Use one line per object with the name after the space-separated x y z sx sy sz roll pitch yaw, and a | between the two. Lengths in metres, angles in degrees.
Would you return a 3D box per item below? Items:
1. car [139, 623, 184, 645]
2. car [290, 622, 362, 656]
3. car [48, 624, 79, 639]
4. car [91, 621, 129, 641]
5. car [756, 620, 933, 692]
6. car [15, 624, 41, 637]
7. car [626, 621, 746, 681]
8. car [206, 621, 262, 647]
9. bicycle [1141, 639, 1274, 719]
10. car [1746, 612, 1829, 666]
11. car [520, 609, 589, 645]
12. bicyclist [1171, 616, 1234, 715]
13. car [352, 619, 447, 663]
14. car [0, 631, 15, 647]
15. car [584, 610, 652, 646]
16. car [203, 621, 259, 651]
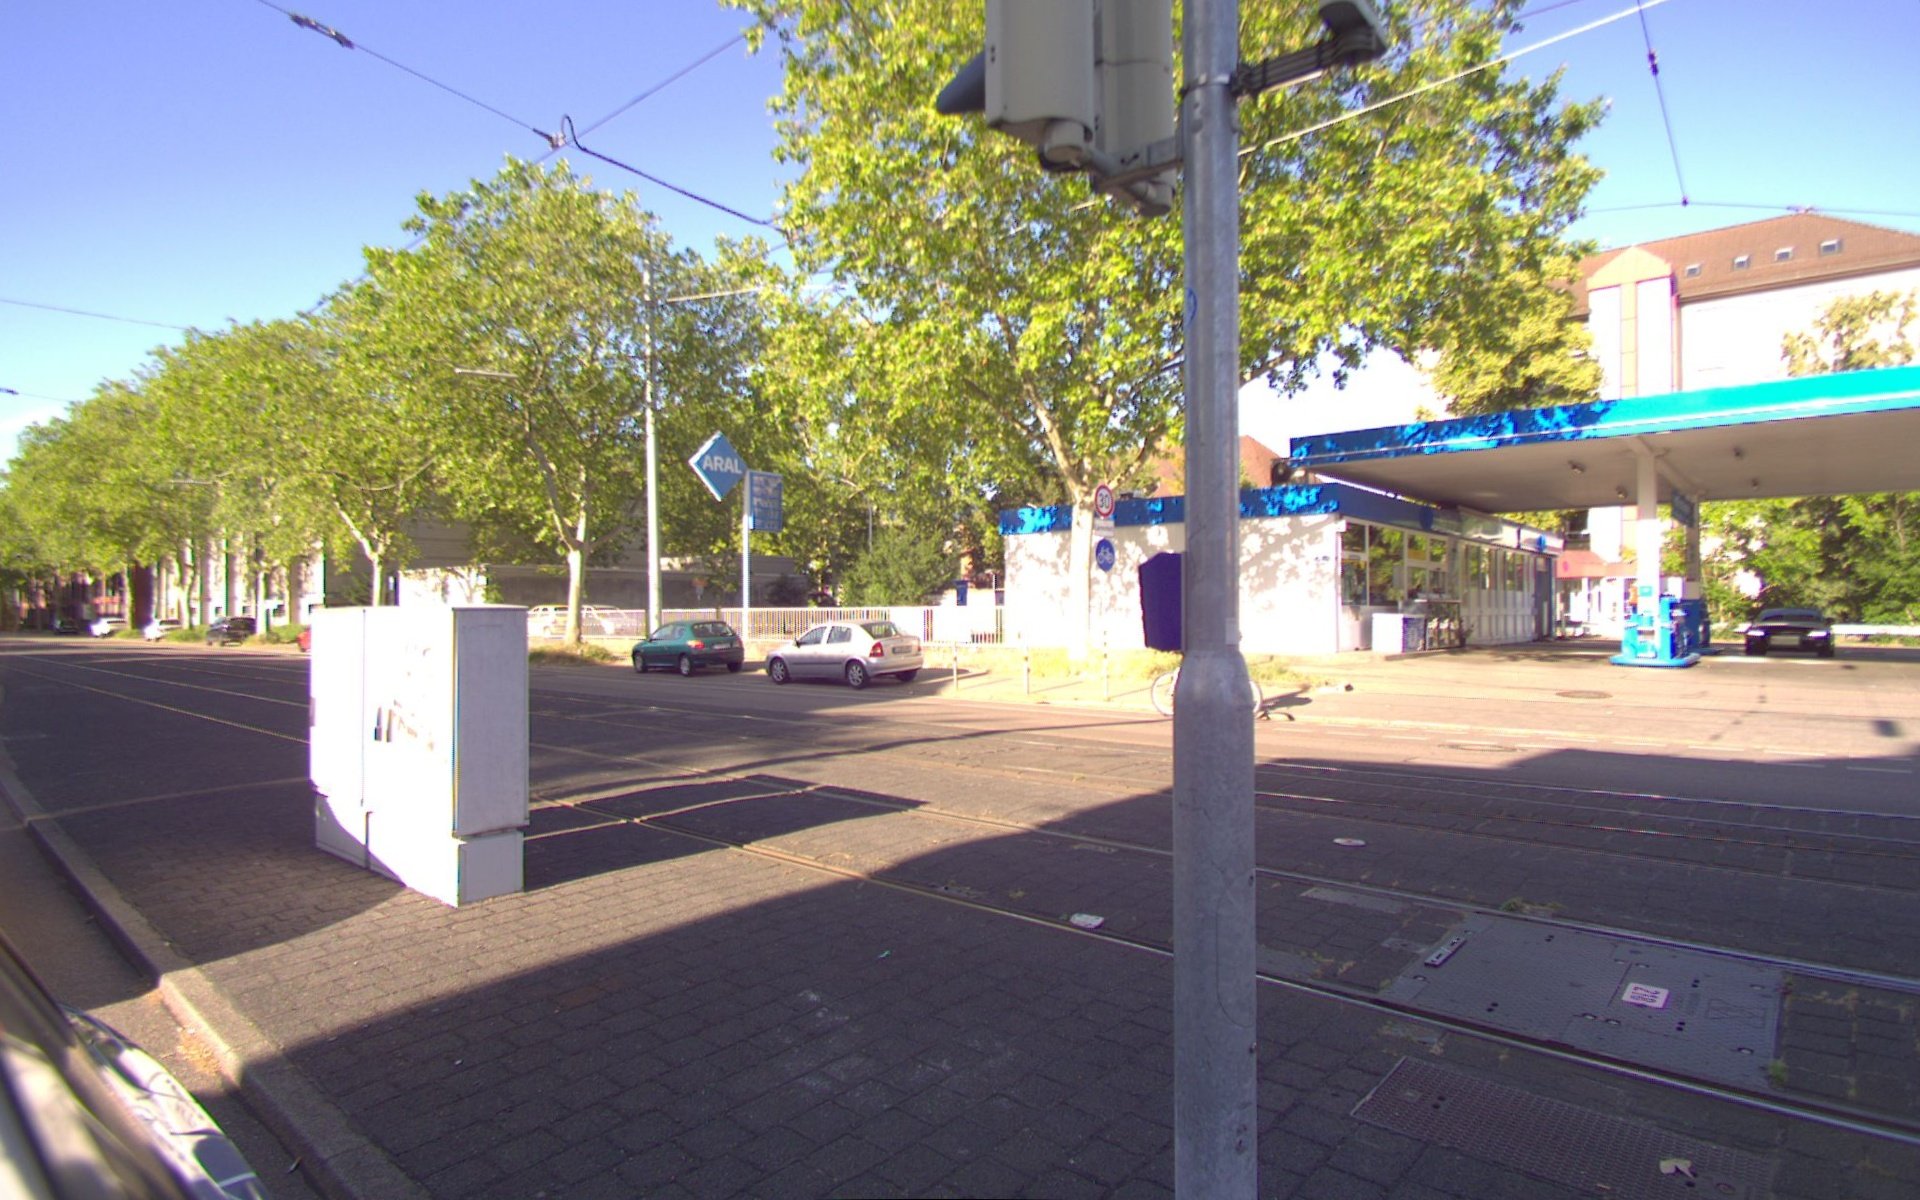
-53.814 2.289 68.200 3.998 1.420 1.678 -1 -2 41 | car
-28.982 1.747 46.227 3.998 1.480 1.678 0 -1 41 | car
-85.186 2.970 96.164 3.998 1.420 1.678 -1 -2 41 | car
-66.816 2.412 79.548 3.998 1.569 1.678 -1 -2 41 | car
-2.650 1.184 22.685 3.998 1.431 1.709 -1 0 41 | car
-102.847 3.380 111.633 3.998 1.420 1.678 -1 -2 41 | car
-7.275 1.302 26.788 3.253 1.431 1.526 -1 0 41 | car
-40.604 1.887 56.576 3.998 1.420 1.678 -1 -2 41 | car
3.553 1.106 14.529 1.783 1.078 0.570 -1 0 23 | bicycle
22.560 1.004 27.556 1.665 1.309 3.433 -1 0 41 | car
-16.839 1.097 41.977 3.151 1.431 1.525 -1 0 44 | car
3.482 0.924 14.522 0.797 1.376 0.556 -1 0 23 | bicyclist
-22.298 1.574 40.202 4.431 1.534 1.731 -1 3 40 | car
-94.568 3.845 99.484 4.761 1.534 1.887 -1 -2 40 | car
-14.727 1.175 43.491 3.151 1.431 1.525 -1 0 44 | car
-40.739 1.979 56.536 3.998 1.587 1.678 -1 -2 41 | car
